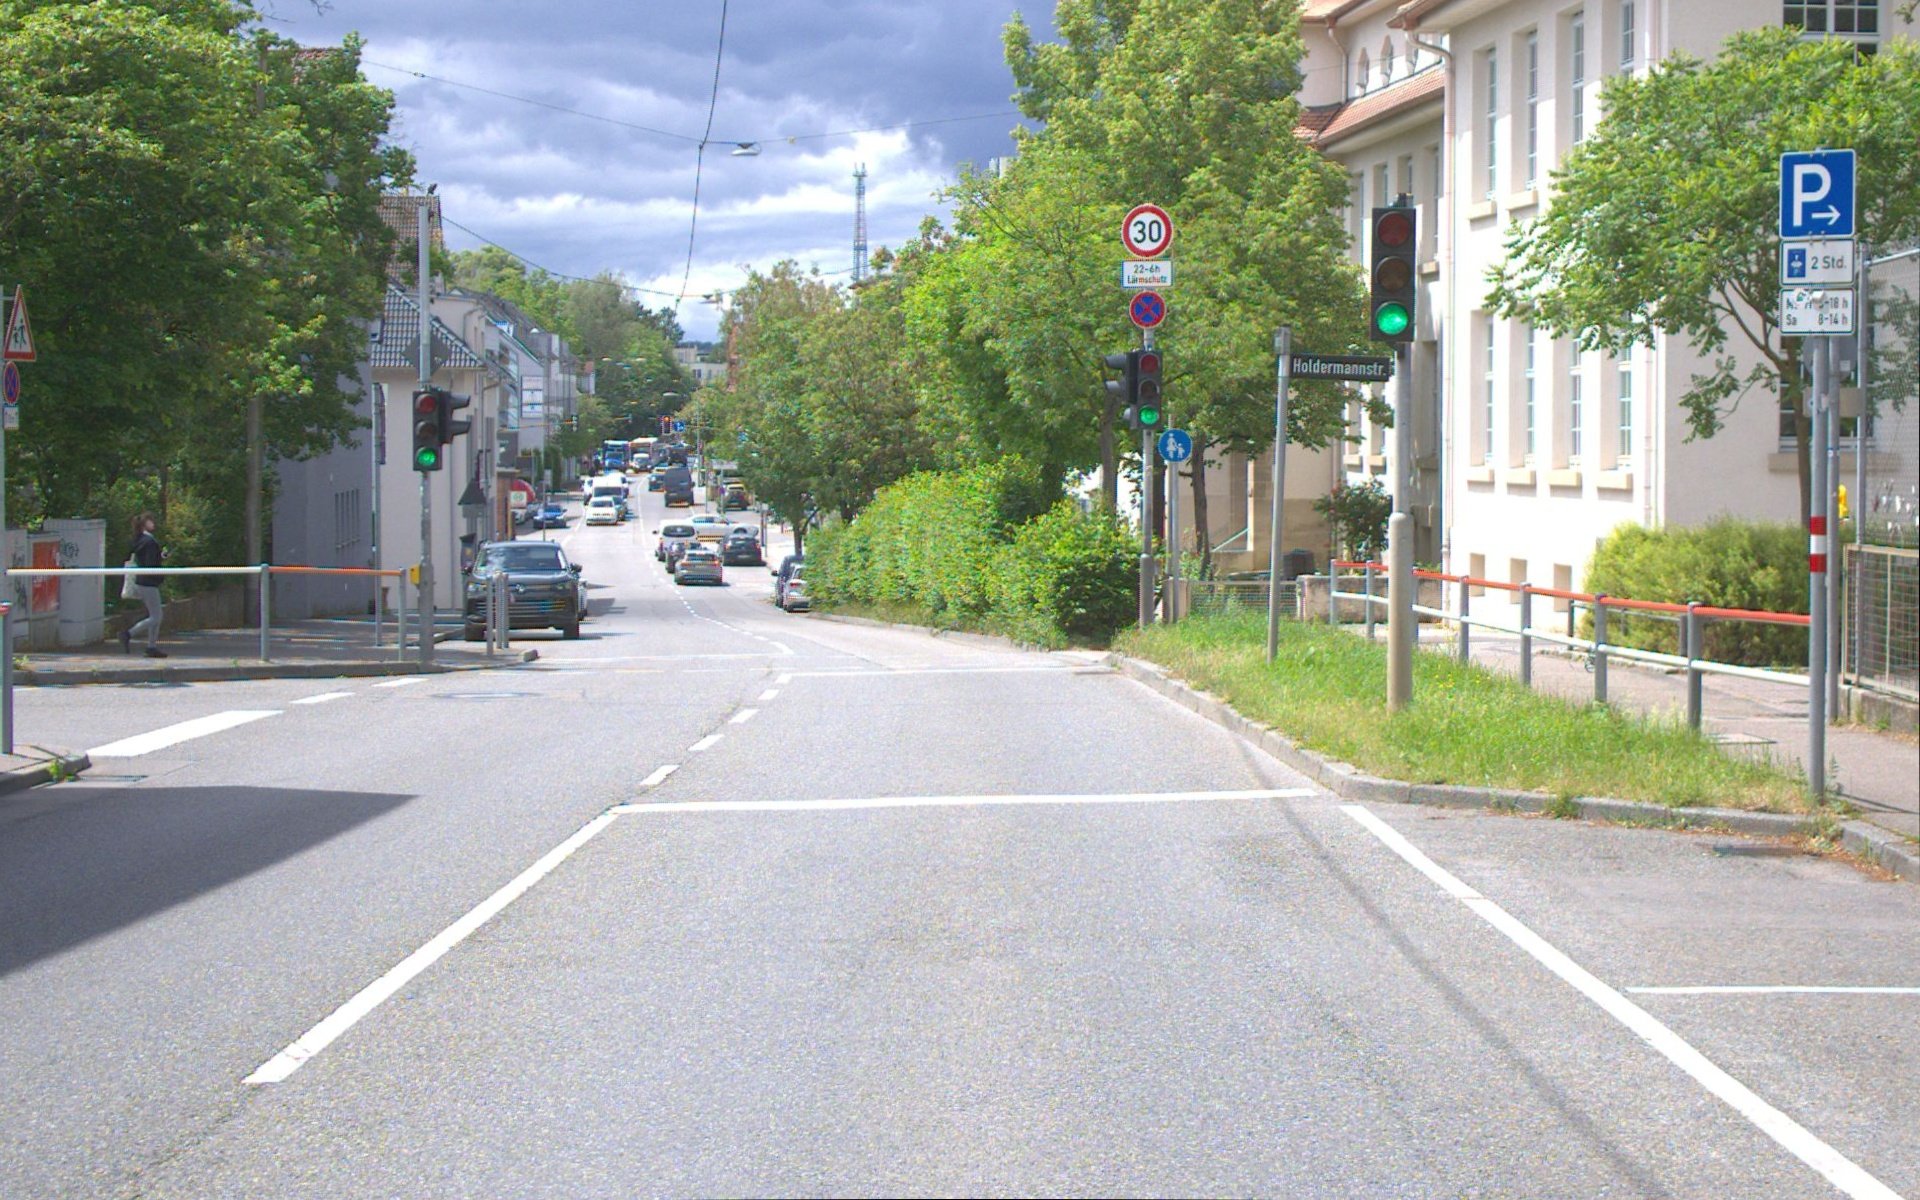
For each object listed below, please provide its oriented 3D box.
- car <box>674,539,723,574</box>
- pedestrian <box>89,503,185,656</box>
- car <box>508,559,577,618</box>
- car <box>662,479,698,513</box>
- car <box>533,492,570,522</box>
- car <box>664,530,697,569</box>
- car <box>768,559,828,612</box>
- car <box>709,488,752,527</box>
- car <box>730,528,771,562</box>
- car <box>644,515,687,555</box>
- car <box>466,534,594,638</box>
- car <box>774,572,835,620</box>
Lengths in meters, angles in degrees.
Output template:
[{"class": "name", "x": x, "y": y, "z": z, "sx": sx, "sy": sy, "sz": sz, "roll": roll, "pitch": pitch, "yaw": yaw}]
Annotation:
[{"class": "car", "x": -10.938, "y": -1.827, "z": 143.572, "sx": 1.743, "sy": 1.412, "sz": 4.001, "roll": -1, "pitch": 1, "yaw": -8}, {"class": "pedestrian", "x": -8.700, "y": -0.221, "z": 36.358, "sx": 0.770, "sy": 1.592, "sz": 0.672, "roll": 0, "pitch": 1, "yaw": -38}, {"class": "car", "x": -10.932, "y": -0.320, "z": 89.888, "sx": 1.697, "sy": 1.385, "sz": 3.867, "roll": 0, "pitch": 2, "yaw": -8}, {"class": "car", "x": -19.793, "y": -7.324, "z": 242.793, "sx": 2.436, "sy": 2.310, "sz": 5.328, "roll": 1, "pitch": 1, "yaw": -6}, {"class": "car", "x": -23.646, "y": -5.379, "z": 198.963, "sx": 1.872, "sy": 1.634, "sz": 4.001, "roll": 1, "pitch": 1, "yaw": -3}, {"class": "car", "x": -12.473, "y": -2.262, "z": 153.570, "sx": 1.273, "sy": 1.522, "sz": 3.052, "roll": -1, "pitch": 4, "yaw": -8}, {"class": "car", "x": -5.632, "y": -0.525, "z": 119.109, "sx": 1.844, "sy": 1.761, "sz": 4.516, "roll": 0, "pitch": 1, "yaw": -5}, {"class": "car", "x": -12.134, "y": -4.861, "z": 181.635, "sx": 1.993, "sy": 2.007, "sz": 4.001, "roll": 0, "pitch": 1, "yaw": -8}, {"class": "car", "x": -9.724, "y": -2.540, "z": 159.415, "sx": 1.752, "sy": 1.366, "sz": 4.000, "roll": 0, "pitch": -2, "yaw": -5}, {"class": "car", "x": -13.919, "y": -3.065, "z": 162.449, "sx": 1.836, "sy": 1.855, "sz": 3.851, "roll": 0, "pitch": 1, "yaw": -7}, {"class": "car", "x": -6.981, "y": -0.261, "z": 56.175, "sx": 1.795, "sy": 1.605, "sz": 4.646, "roll": 0, "pitch": 1, "yaw": -4}, {"class": "car", "x": -5.141, "y": -0.158, "z": 113.135, "sx": 1.786, "sy": 1.504, "sz": 4.365, "roll": 0, "pitch": 1, "yaw": -5}]
